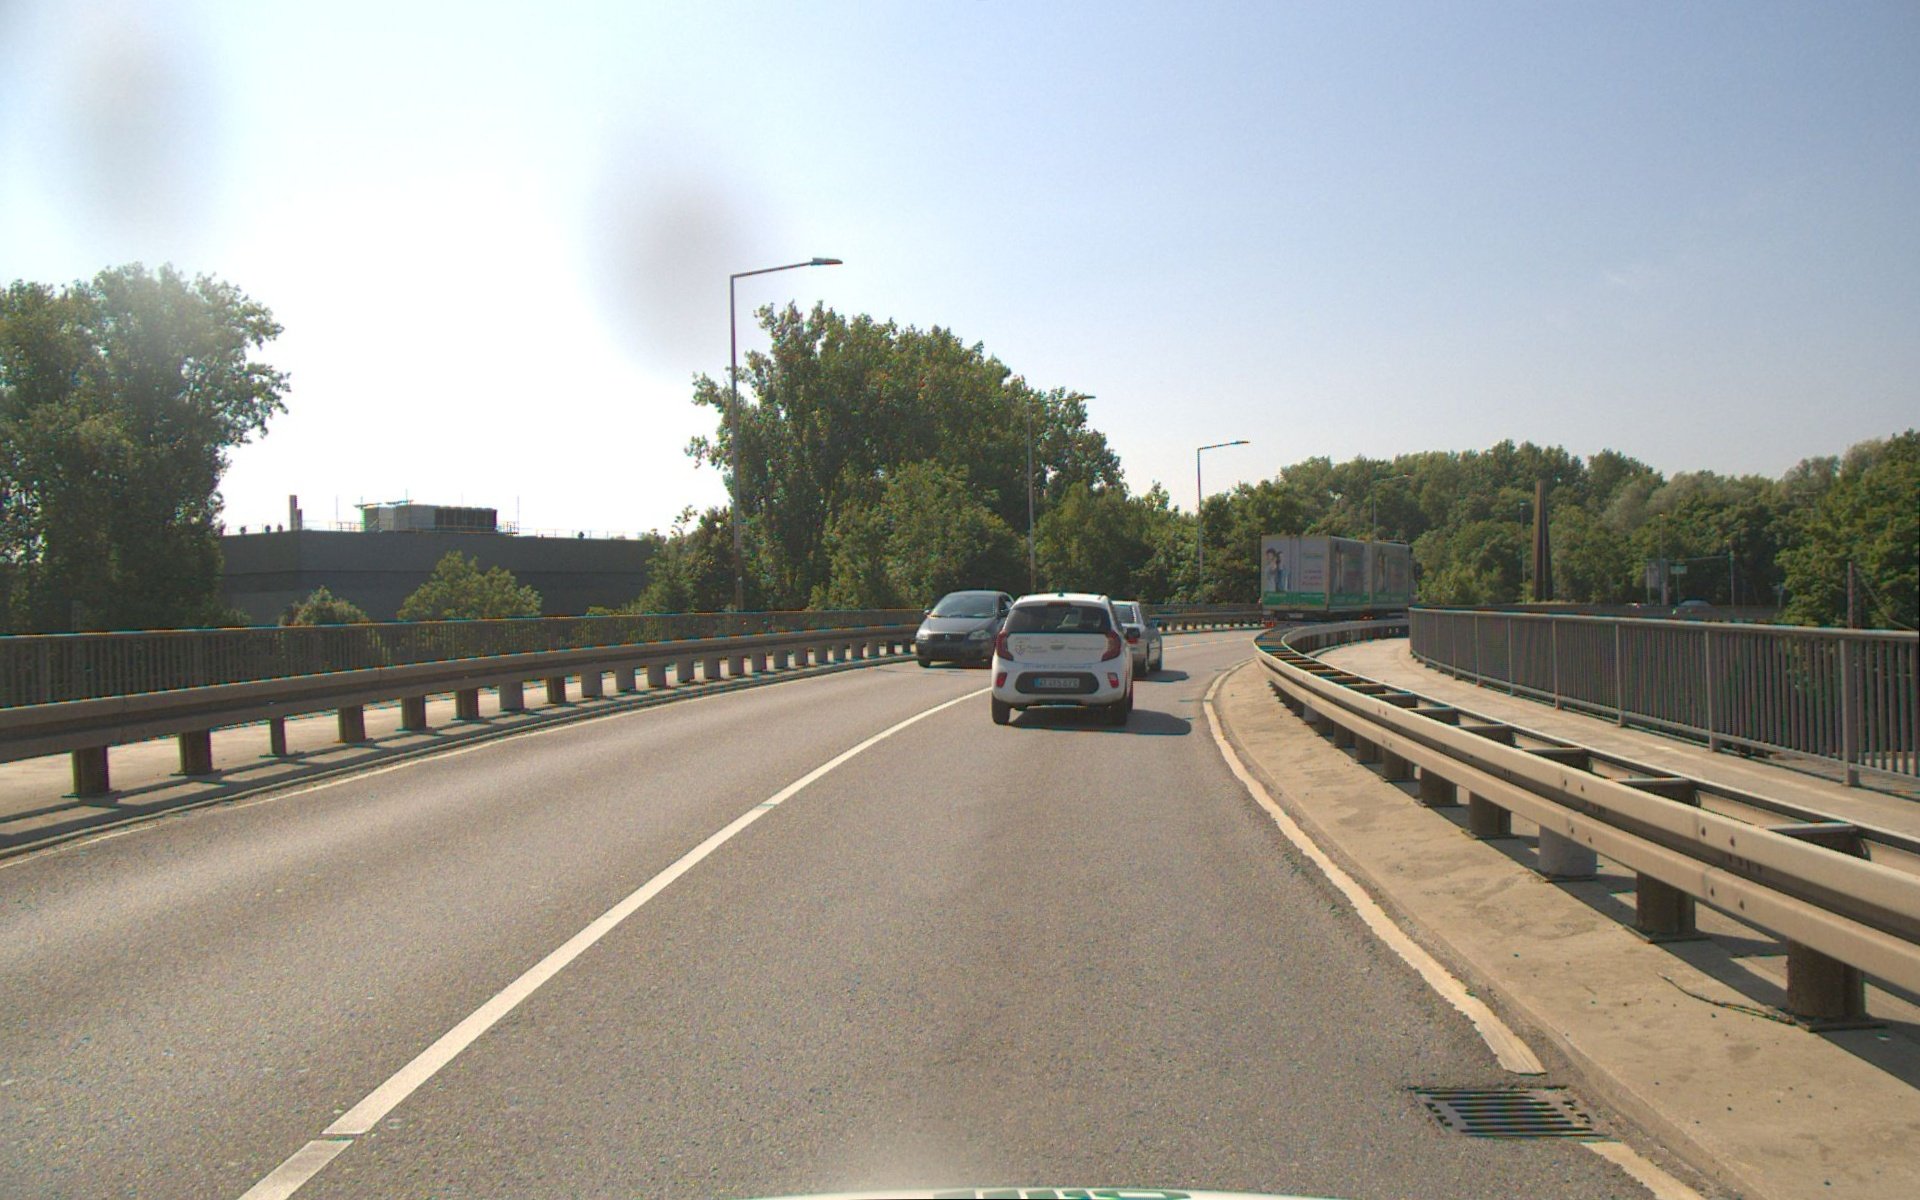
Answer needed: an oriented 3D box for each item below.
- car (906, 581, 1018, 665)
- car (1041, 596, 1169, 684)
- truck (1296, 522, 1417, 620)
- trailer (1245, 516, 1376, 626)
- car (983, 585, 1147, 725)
[{"bbox_3d":[0.109,0.444,35.612,1.695,1.653,4.307,0,1,10],"label":"car"},{"bbox_3d":[2.898,0.704,32.055,1.897,1.512,4.904,1,1,12],"label":"car"},{"bbox_3d":[16.804,-1.246,69.661,3.196,3.823,8.364,2,2,25],"label":"truck"},{"bbox_3d":[13.370,-1.125,62.572,3.160,3.823,7.821,2,2,24],"label":"trailer"},{"bbox_3d":[1.392,0.651,20.487,1.665,1.520,4.003,1,-1,8],"label":"car"}]
